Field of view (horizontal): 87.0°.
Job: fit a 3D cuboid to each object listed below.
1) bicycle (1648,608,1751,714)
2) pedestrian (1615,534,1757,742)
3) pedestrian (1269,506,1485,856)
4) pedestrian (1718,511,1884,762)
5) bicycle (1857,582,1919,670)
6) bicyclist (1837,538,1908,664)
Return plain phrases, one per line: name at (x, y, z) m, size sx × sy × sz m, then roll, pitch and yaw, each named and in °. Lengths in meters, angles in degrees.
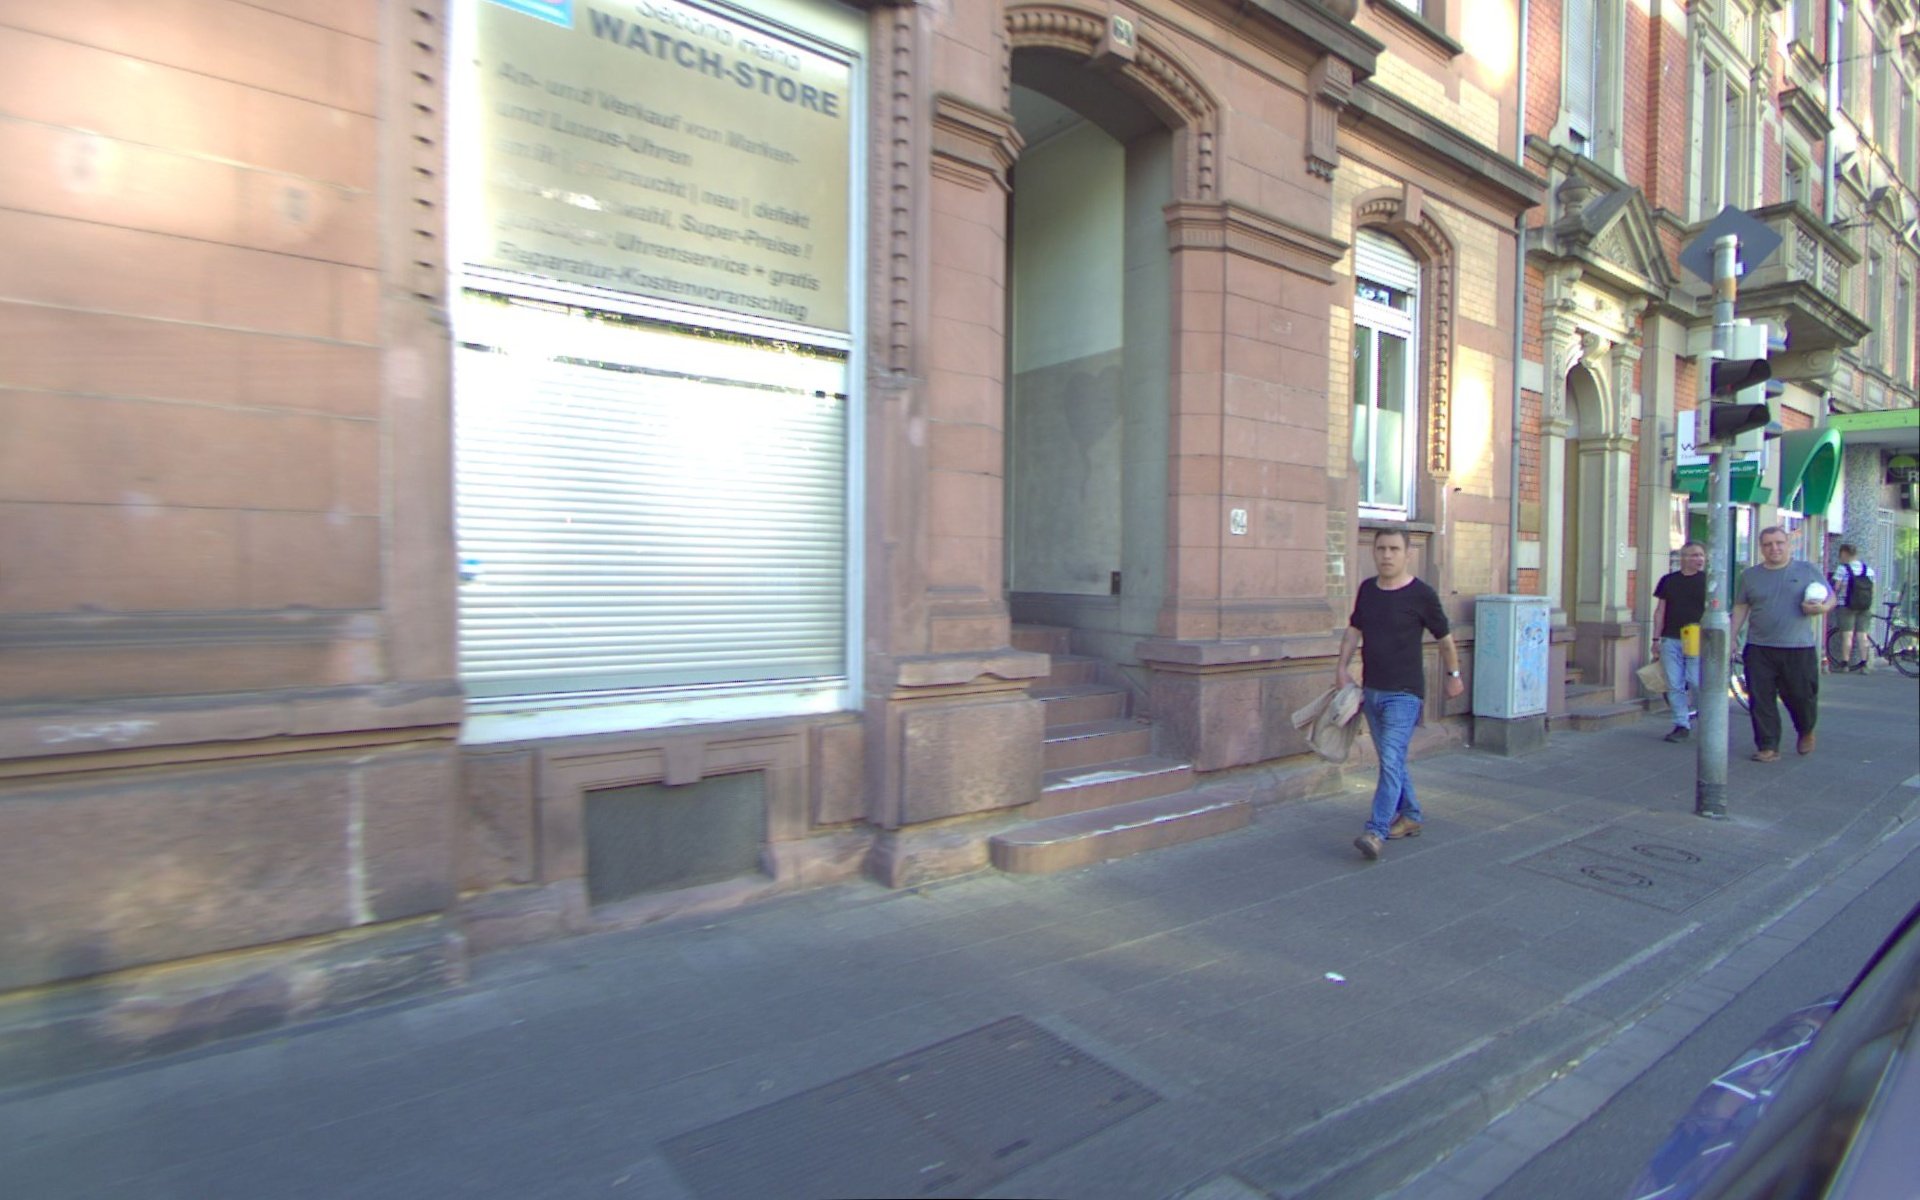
bicycle at (7.673, 0.610, 10.493) m, size 1.215 × 1.008 × 0.346 m, roll -1°, pitch 3°, yaw -29°
pedestrian at (6.461, 0.294, 9.019) m, size 0.740 × 1.744 × 0.778 m, roll -1°, pitch 3°, yaw -37°
pedestrian at (2.279, 0.382, 5.559) m, size 0.740 × 1.744 × 0.778 m, roll -1°, pitch 3°, yaw -37°
pedestrian at (6.849, 0.255, 8.255) m, size 0.740 × 1.917 × 0.824 m, roll -1°, pitch 3°, yaw -37°
bicycle at (14.597, 0.371, 15.575) m, size 0.662 × 1.269 × 1.878 m, roll 1°, pitch 2°, yaw 26°
bicyclist at (14.186, 0.003, 15.758) m, size 0.594 × 1.905 × 0.737 m, roll 1°, pitch 2°, yaw 26°
